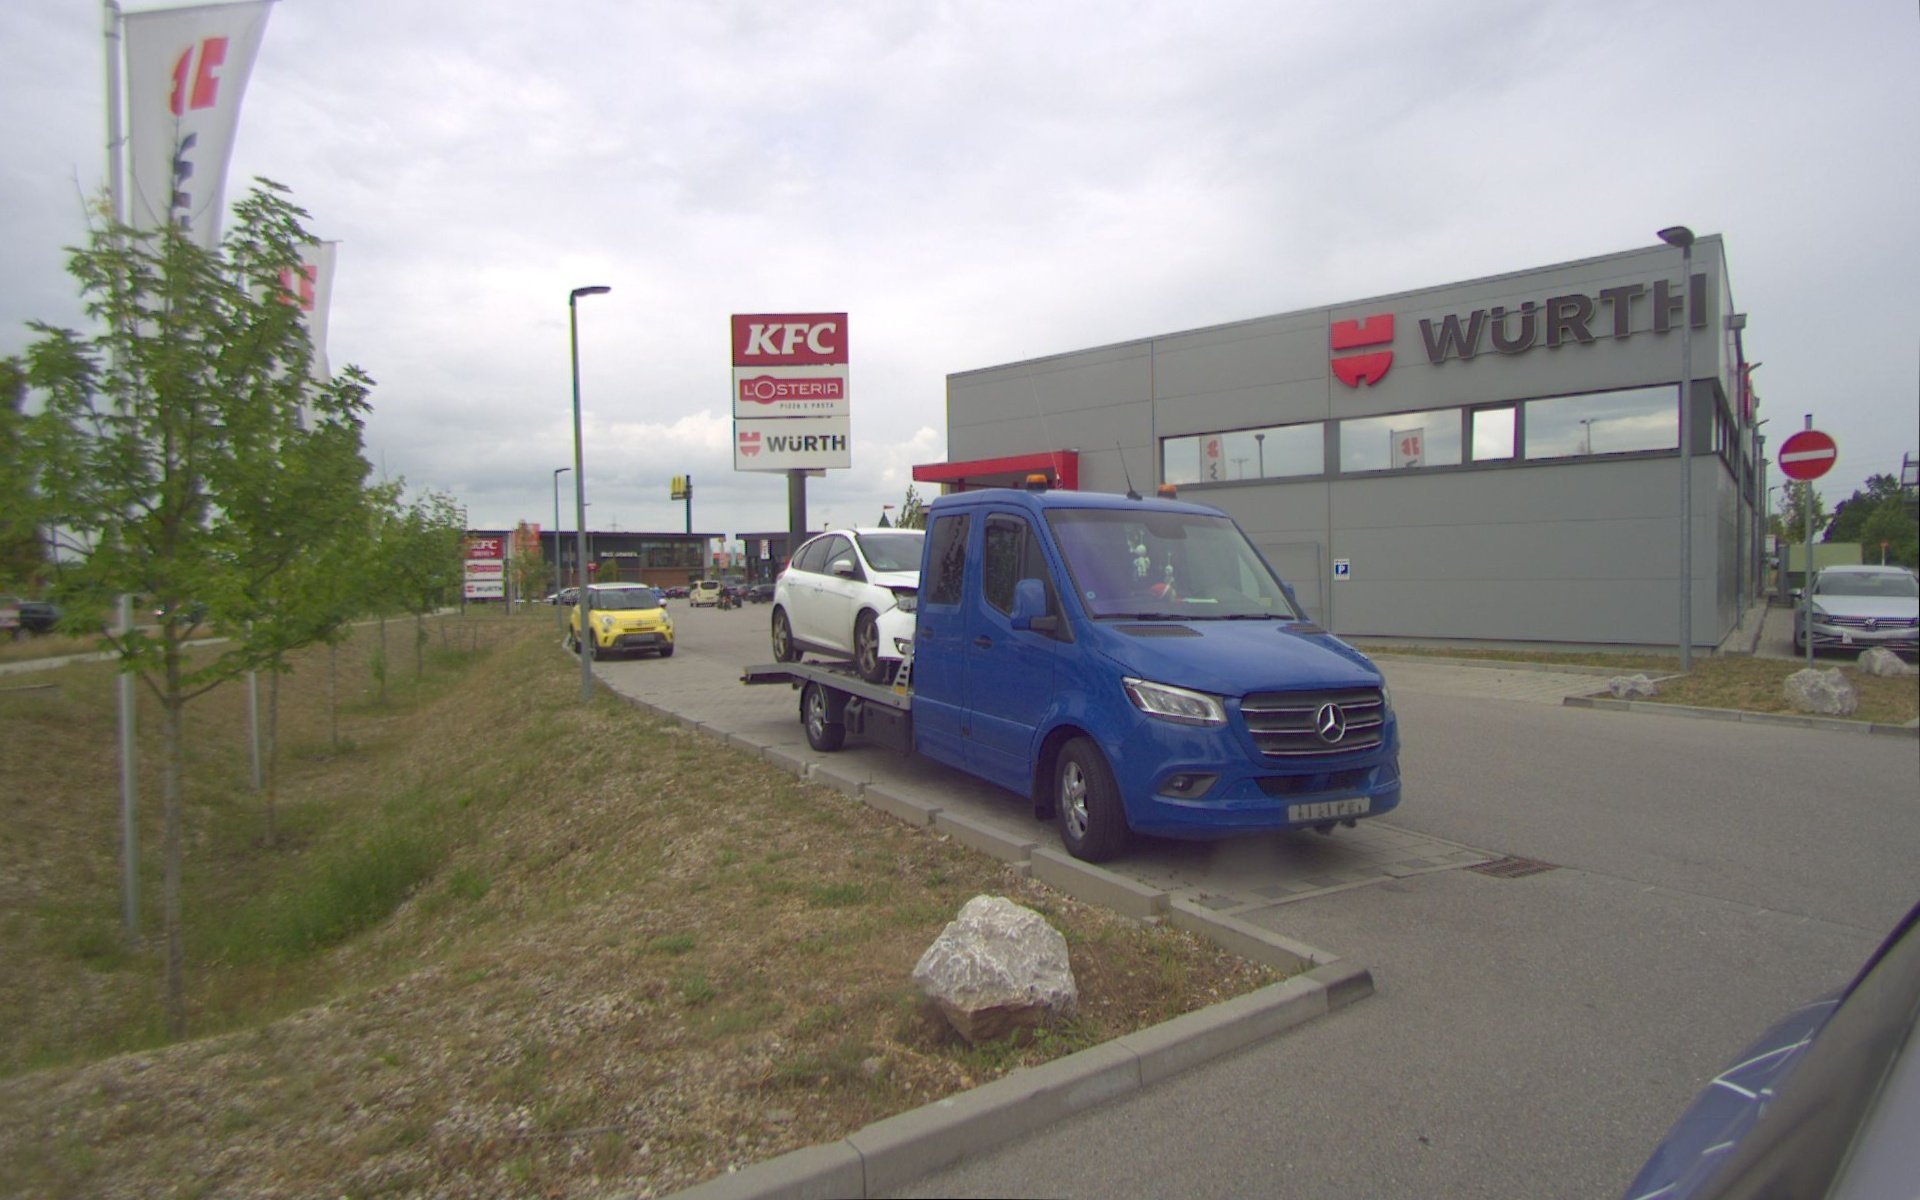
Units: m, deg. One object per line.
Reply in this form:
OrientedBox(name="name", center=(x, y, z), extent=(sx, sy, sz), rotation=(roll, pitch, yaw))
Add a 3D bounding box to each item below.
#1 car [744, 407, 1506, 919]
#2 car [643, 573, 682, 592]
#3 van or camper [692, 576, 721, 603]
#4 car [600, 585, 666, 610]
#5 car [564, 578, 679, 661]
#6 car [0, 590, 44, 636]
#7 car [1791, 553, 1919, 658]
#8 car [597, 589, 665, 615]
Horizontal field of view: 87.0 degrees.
OrientedBox(name="car", center=(0.277, 0.185, 8.645), extent=(2.156, 2.351, 7.870), rotation=(0, 1, -27))
OrientedBox(name="car", center=(-35.251, -2.049, 119.909), extent=(3.935, 2.038, 1.995), rotation=(-1, 2, 10))
OrientedBox(name="van or camper", center=(-20.107, -0.874, 80.553), extent=(1.821, 2.087, 5.244), rotation=(-2, 2, -10))
OrientedBox(name="car", center=(-21.017, -0.157, 65.057), extent=(3.916, 1.437, 1.814), rotation=(-2, 1, -20))
OrientedBox(name="car", center=(-8.035, 0.375, 23.789), extent=(1.718, 1.704, 4.303), rotation=(-3, 2, -30))
OrientedBox(name="car", center=(-35.069, 0.483, 36.335), extent=(1.869, 1.588, 4.344), rotation=(-2, 2, -23))
OrientedBox(name="car", center=(15.669, -0.001, 17.041), extent=(4.692, 1.509, 1.977), rotation=(-3, 4, -43))
OrientedBox(name="car", center=(-20.308, 0.109, 62.494), extent=(3.916, 1.437, 1.814), rotation=(-2, 1, -20))
